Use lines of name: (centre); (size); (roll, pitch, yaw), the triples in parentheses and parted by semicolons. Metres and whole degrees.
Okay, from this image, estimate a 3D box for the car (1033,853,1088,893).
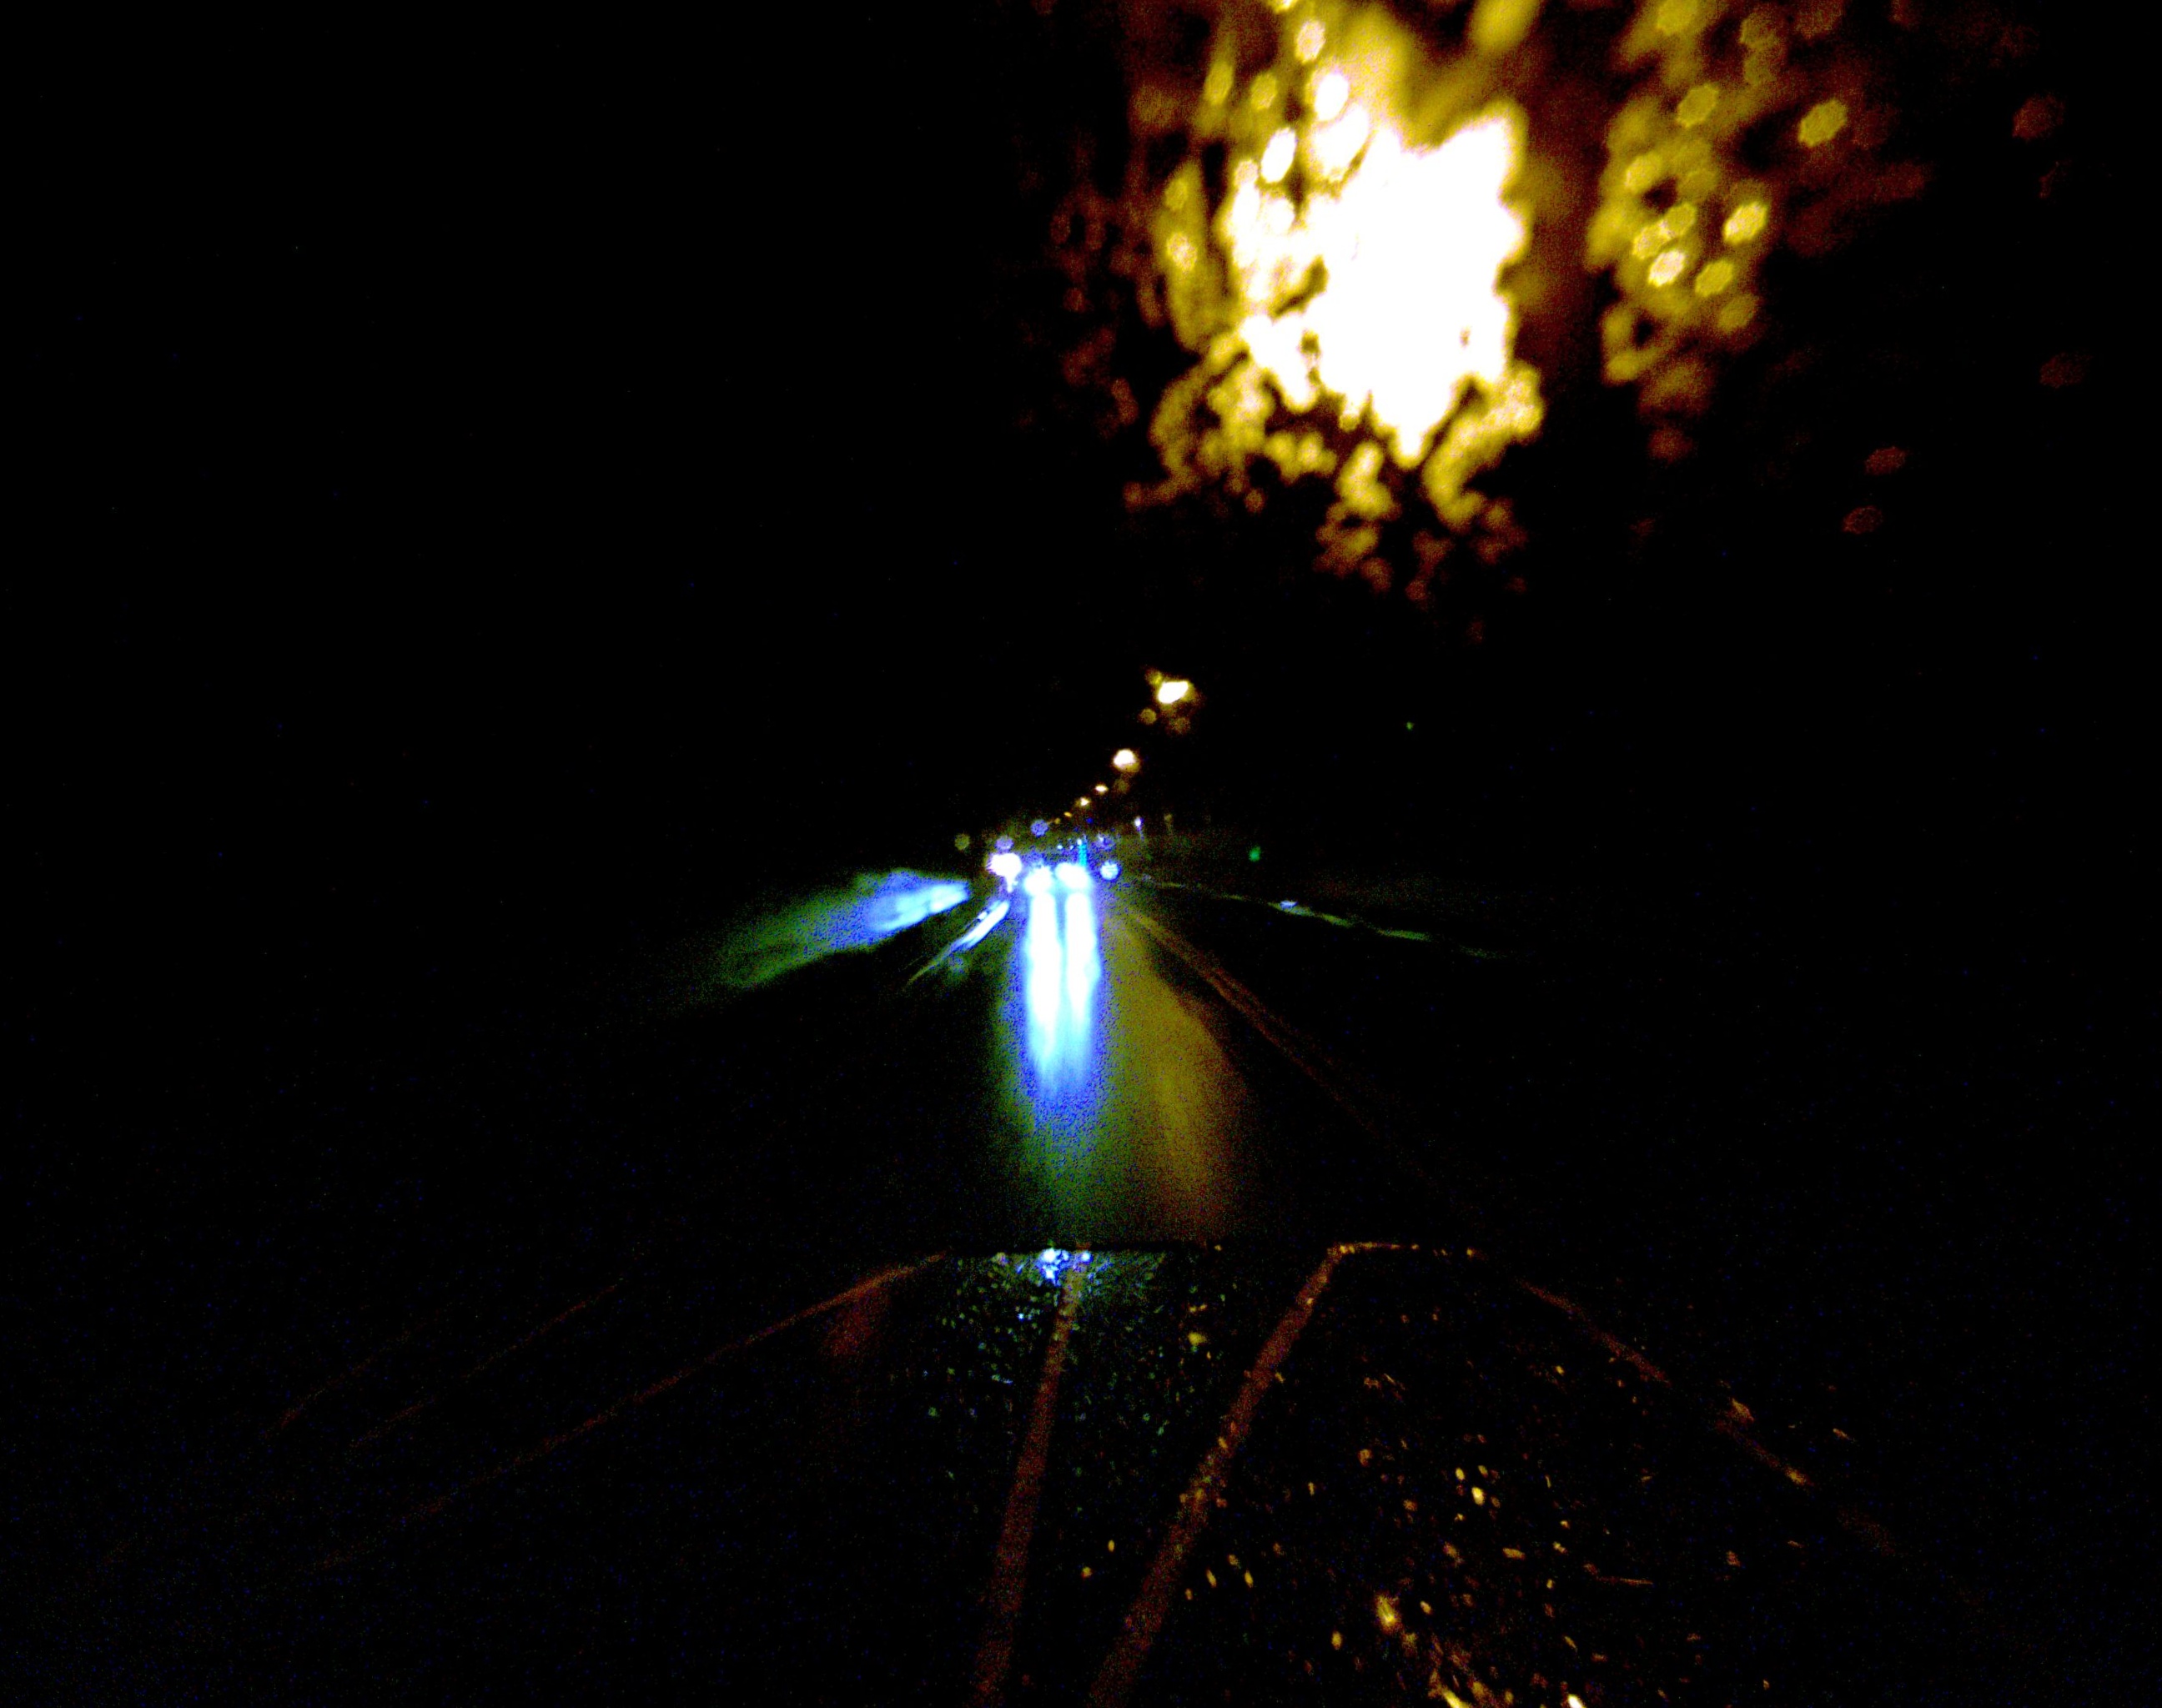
car: (-0.975, 0.760, 33.311); (2.000, 1.547, 3.997); (-2, 1, -7)
